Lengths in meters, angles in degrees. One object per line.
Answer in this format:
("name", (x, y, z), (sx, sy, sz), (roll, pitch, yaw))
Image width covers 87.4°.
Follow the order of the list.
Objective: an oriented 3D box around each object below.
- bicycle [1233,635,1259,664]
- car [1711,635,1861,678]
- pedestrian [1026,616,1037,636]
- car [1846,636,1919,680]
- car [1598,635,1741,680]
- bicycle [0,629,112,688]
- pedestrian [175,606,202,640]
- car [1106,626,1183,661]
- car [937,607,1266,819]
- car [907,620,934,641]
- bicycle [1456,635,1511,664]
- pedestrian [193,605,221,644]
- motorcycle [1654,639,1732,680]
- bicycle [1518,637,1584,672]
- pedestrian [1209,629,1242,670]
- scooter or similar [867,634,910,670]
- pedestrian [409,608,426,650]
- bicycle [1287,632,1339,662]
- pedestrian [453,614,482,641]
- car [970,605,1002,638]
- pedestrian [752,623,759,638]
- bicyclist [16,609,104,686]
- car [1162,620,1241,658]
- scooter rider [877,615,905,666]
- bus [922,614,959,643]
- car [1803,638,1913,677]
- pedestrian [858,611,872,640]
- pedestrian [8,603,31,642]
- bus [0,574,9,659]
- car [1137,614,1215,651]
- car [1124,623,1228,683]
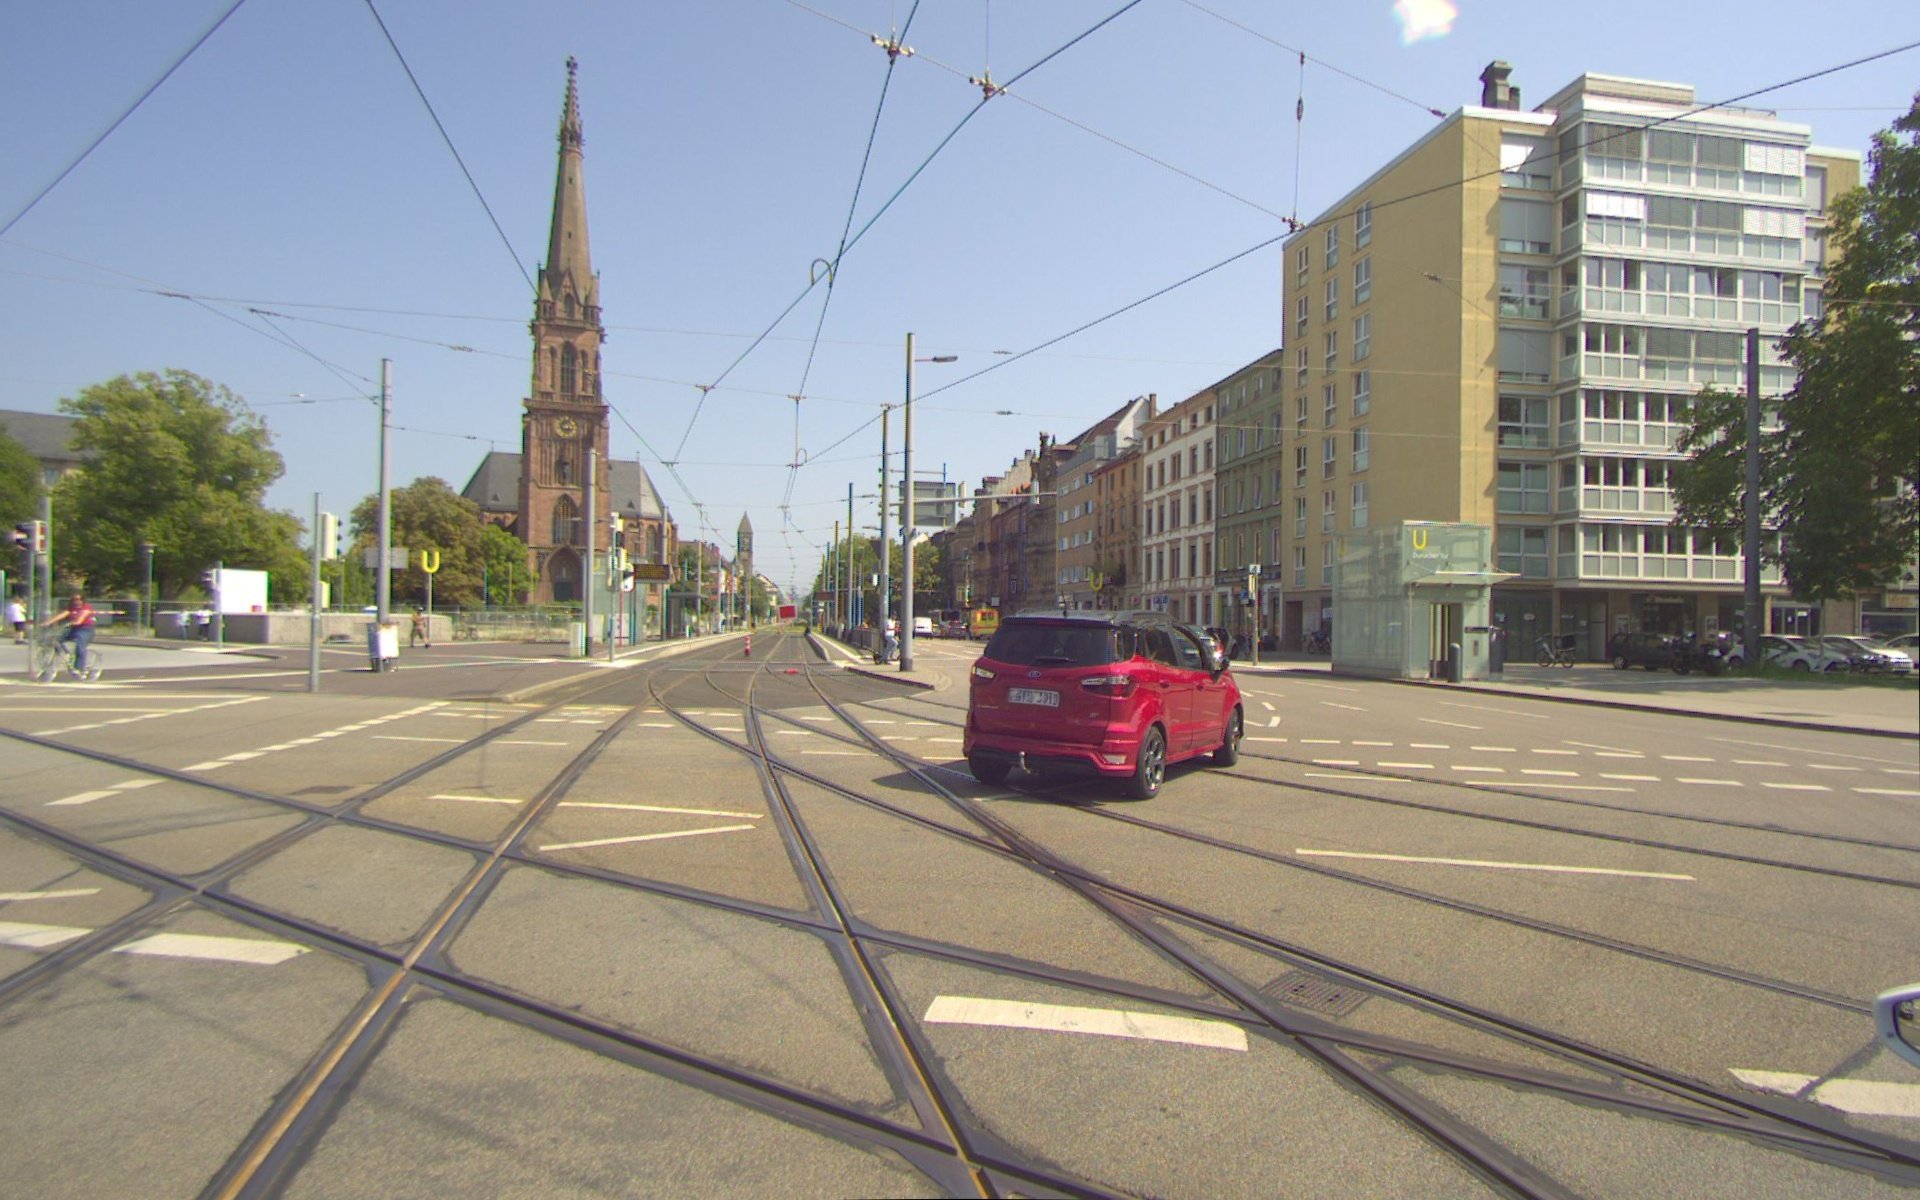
("bicycle", (13.128, 2.273, 46.127), (0.466, 1.313, 1.790), (0, -2, -7))
("car", (31.684, 2.138, 38.700), (1.873, 1.490, 4.237), (1, -1, -12))
("pedestrian", (6.154, 2.236, 86.428), (0.836, 1.752, 0.970), (0, 1, -3))
("car", (38.682, 2.339, 40.587), (1.759, 1.688, 4.064), (1, -1, -12))
("car", (26.532, 2.116, 37.741), (1.873, 1.490, 4.237), (1, -1, -12))
("bicycle", (-17.745, 1.122, 19.772), (0.603, 1.083, 1.911), (1, -1, -6))
("pedestrian", (-36.514, 1.089, 47.539), (0.666, 1.568, 0.783), (0, -2, 30))
("car", (9.727, 2.234, 52.639), (2.012, 1.736, 4.646), (0, -1, 39))
("car", (1.620, 0.947, 10.001), (1.737, 1.639, 4.073), (0, -2, 32))
("car", (-3.442, 2.650, 87.204), (1.764, 1.803, 3.993), (1, -2, -11))
("bicycle", (21.751, 2.063, 41.765), (1.930, 1.158, 0.597), (1, -1, 5))
("pedestrian", (-34.293, 1.125, 45.765), (0.666, 1.751, 0.783), (0, -1, 30))
("motorcycle", (22.062, 1.784, 30.288), (0.894, 1.152, 2.113), (1, -1, 3))
("bicycle", (22.597, 2.069, 38.463), (0.780, 1.255, 2.431), (1, -1, -10))
("pedestrian", (11.640, 2.168, 43.988), (1.028, 1.726, 0.895), (3, -2, -36))
("scooter or similar", (-2.388, 1.720, 33.371), (1.319, 1.164, 0.708), (1, -1, -12))
("pedestrian", (-22.348, 1.182, 41.365), (0.567, 1.681, 0.795), (1, 1, -28))
("bicycle", (18.258, 2.421, 52.042), (0.888, 1.423, 3.356), (1, -1, -12))
("pedestrian", (-28.342, 1.572, 57.800), (1.666, 1.506, 0.614), (0, -1, 26))
("car", (2.321, 1.993, 92.644), (2.263, 2.927, 5.594), (0, -1, -6))
("pedestrian", (-23.878, 3.564, 117.222), (0.816, 1.775, 0.719), (1, -2, -9))
("bicyclist", (-17.755, 0.927, 19.843), (0.861, 1.479, 0.979), (1, -1, -6))
("car", (10.940, 1.769, 45.402), (1.783, 1.520, 3.763), (2, -2, 44))
("scooter rider", (-2.324, 1.370, 33.846), (0.761, 1.695, 0.777), (1, -1, -16))
("bus", (-2.385, 3.309, 117.107), (2.496, 3.072, 12.416), (1, -2, -9))
("car", (36.135, 2.280, 40.495), (1.379, 1.447, 3.091), (1, -1, -12))
("pedestrian", (-5.880, 1.576, 62.179), (0.749, 1.774, 1.067), (1, -2, -10))
("pedestrian", (-37.878, 0.915, 40.450), (0.592, 1.548, 0.574), (-1, -3, 43))
("bus", (-43.652, 0.621, 43.155), (12.566, 3.375, 2.665), (0, -1, 40))
("car", (10.523, 1.564, 48.743), (1.956, 1.710, 4.374), (0, -1, 39))
("car", (5.692, 1.375, 26.960), (1.761, 1.450, 3.999), (1, -1, -3))
